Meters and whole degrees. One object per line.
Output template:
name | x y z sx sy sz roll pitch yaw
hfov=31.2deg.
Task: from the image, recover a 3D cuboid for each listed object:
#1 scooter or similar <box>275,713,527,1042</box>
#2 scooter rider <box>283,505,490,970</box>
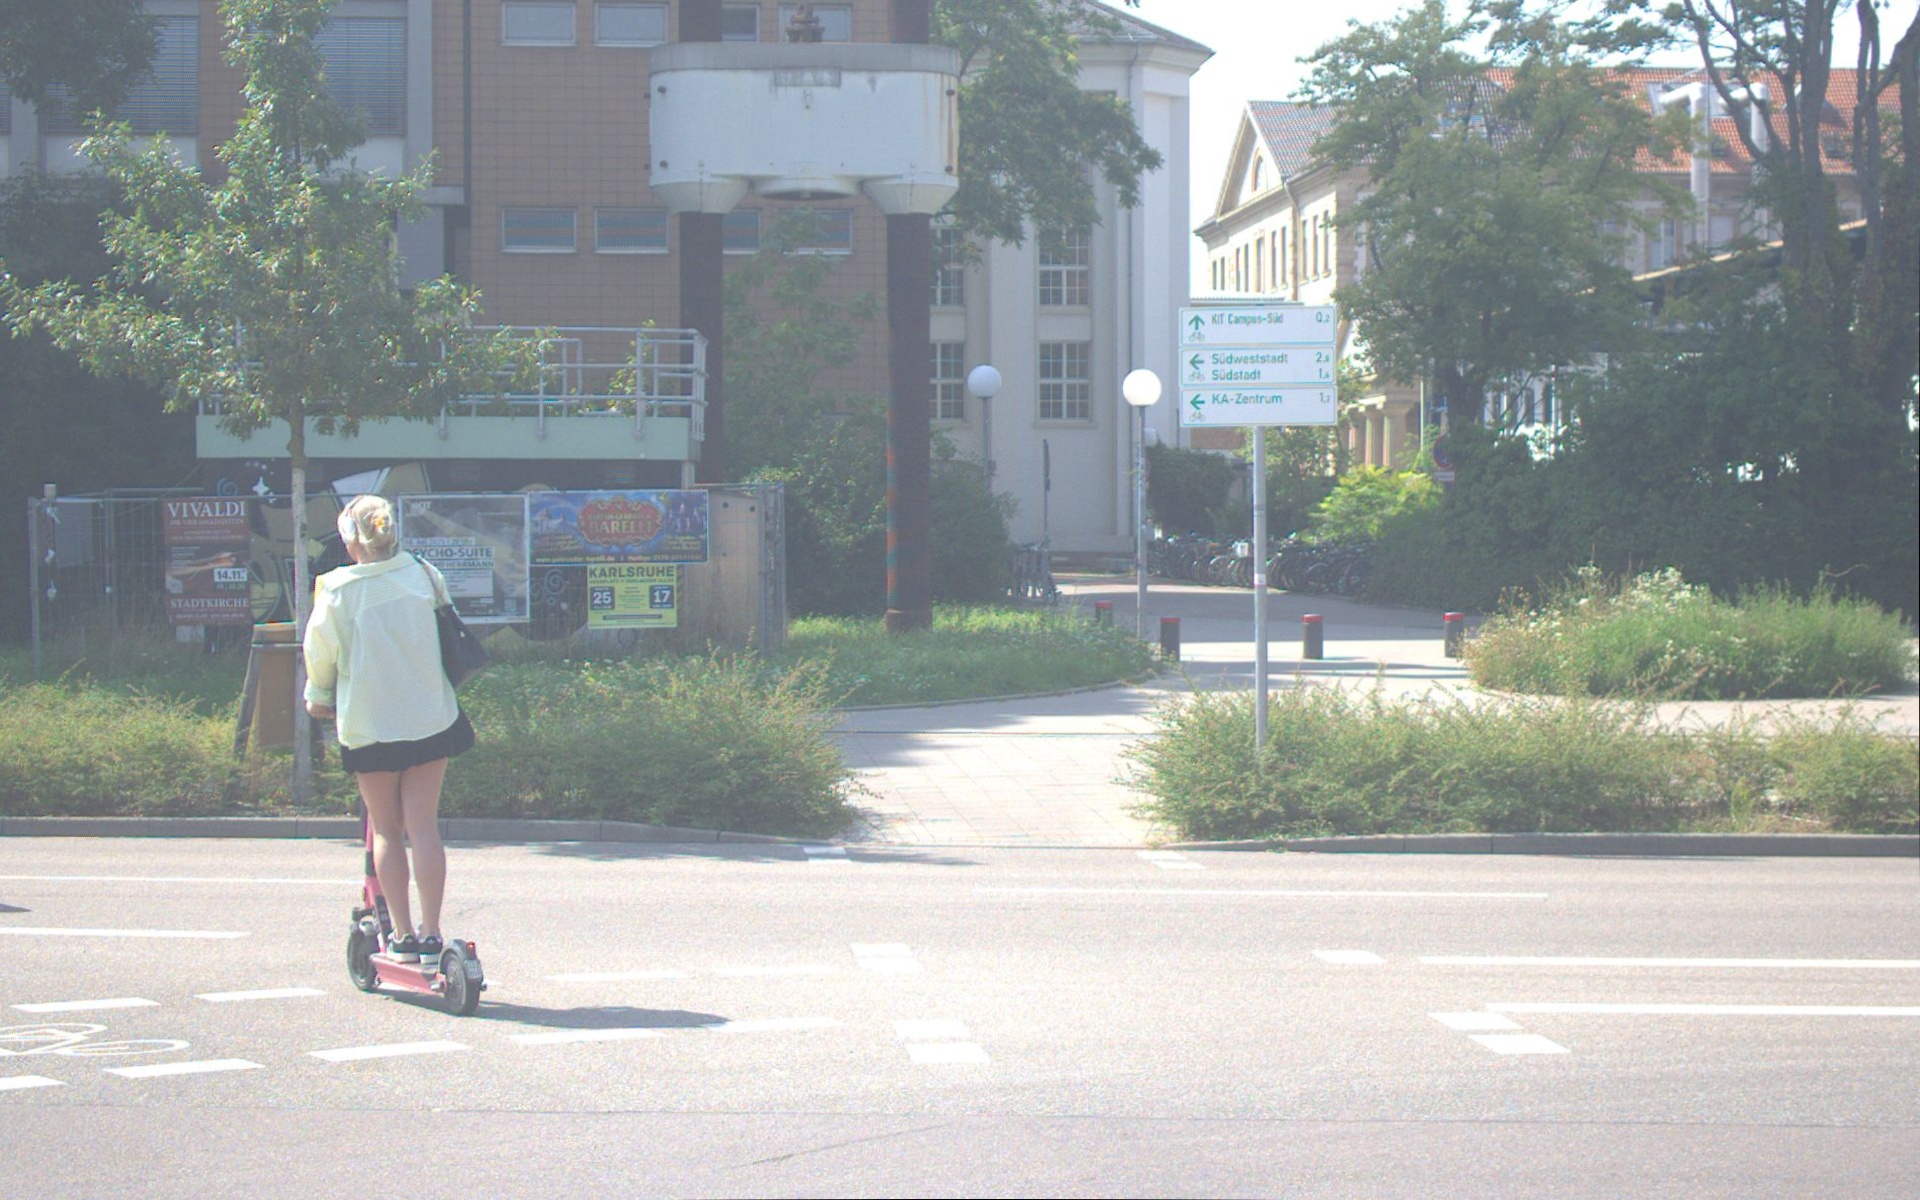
scooter or similar | -2.108 0.980 12.762 0.556 1.056 2.004 0 0 -20
scooter rider | -2.153 0.500 12.877 0.670 1.694 0.539 0 0 -20
